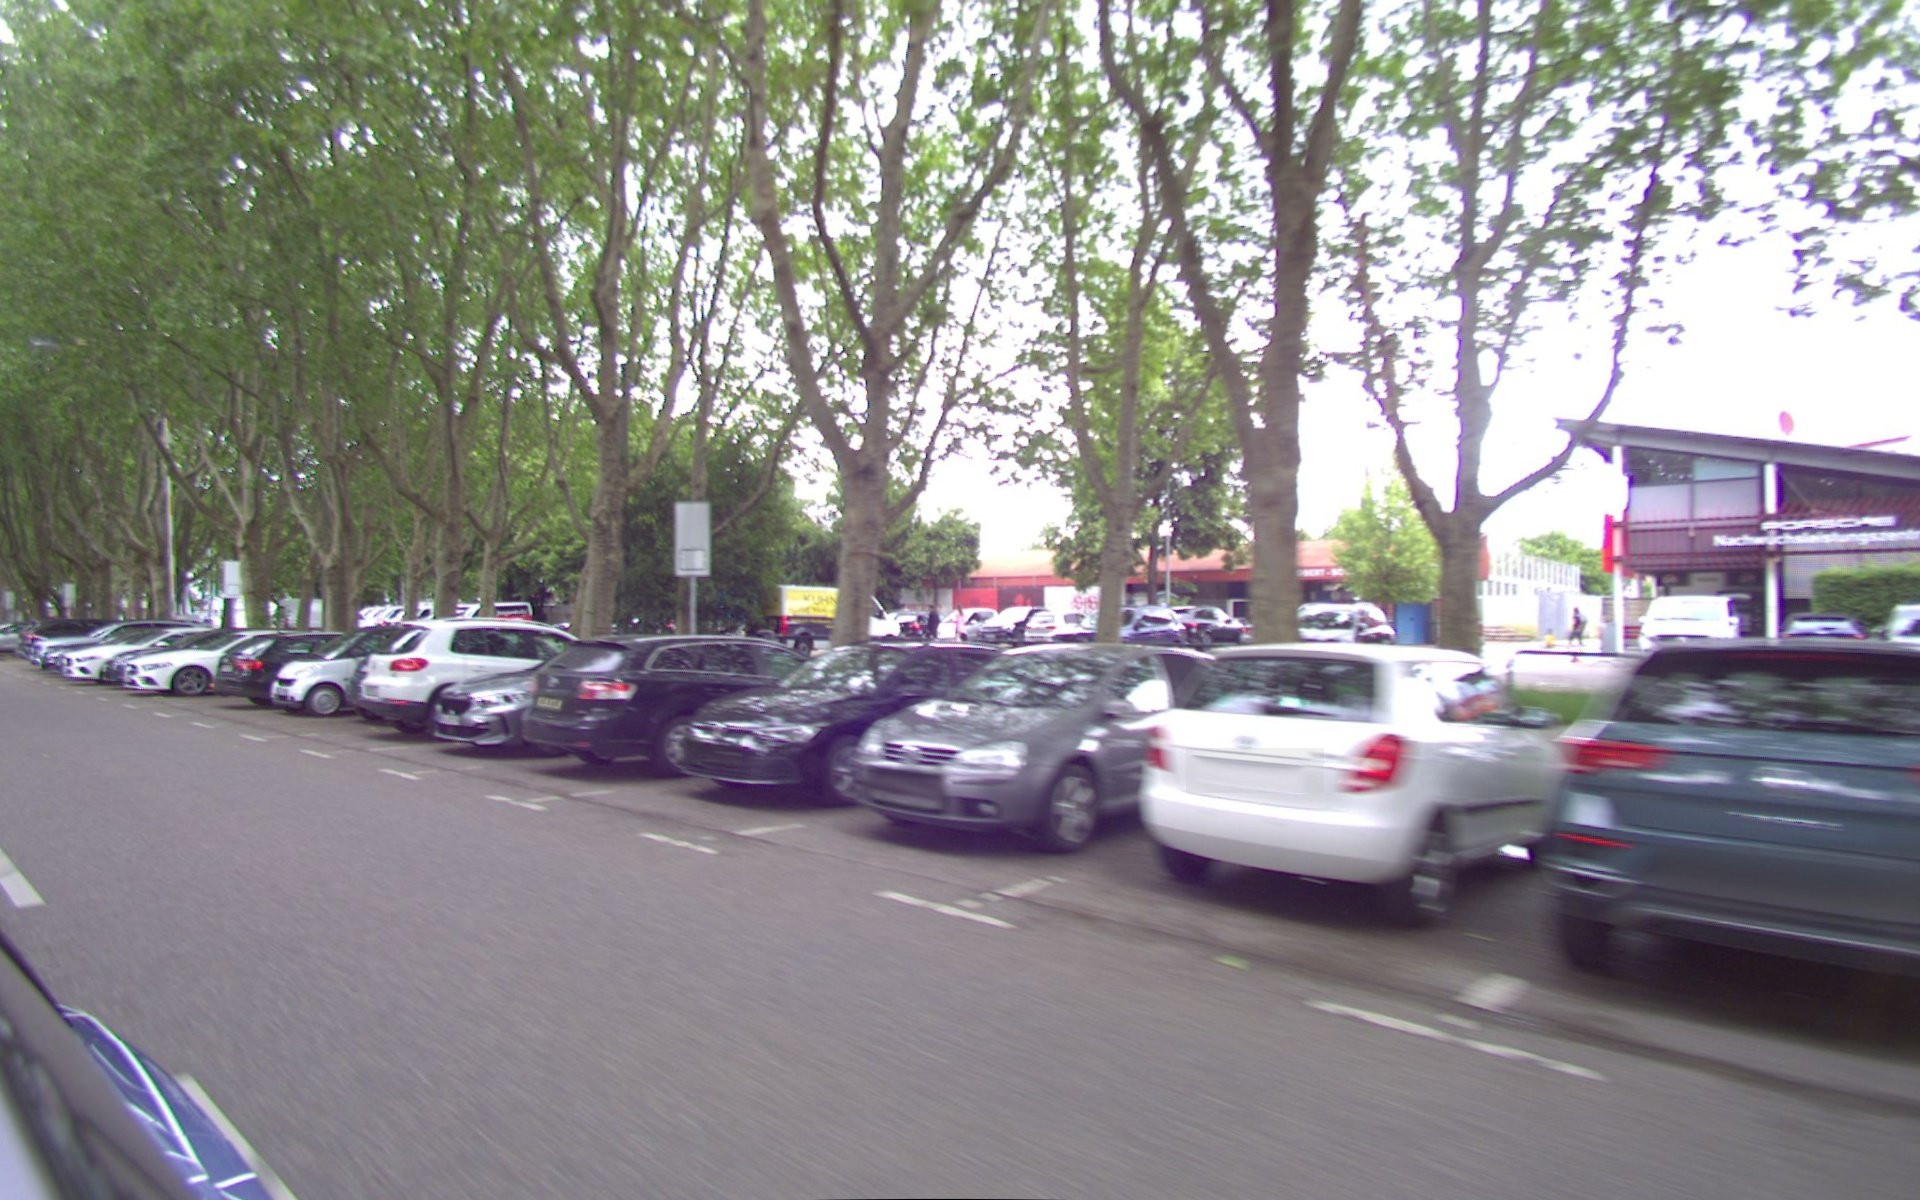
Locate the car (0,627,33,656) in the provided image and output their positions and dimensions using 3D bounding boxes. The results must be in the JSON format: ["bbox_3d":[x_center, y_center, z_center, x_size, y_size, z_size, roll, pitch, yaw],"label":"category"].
[{"bbox_3d":[-50.375,2.109,52.035,1.847,1.486,3.796,-1,-4,43],"label":"car"}]

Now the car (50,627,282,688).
[{"bbox_3d":[-20.226,1.447,25.944,1.774,1.435,4.363,-1,-3,39],"label":"car"}]

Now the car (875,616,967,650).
[{"bbox_3d":[-1.695,1.442,45.087,1.900,1.407,3.945,-2,-1,41],"label":"car"}]

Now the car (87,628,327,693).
[{"bbox_3d":[-18.084,1.440,24.469,1.783,1.428,4.360,-2,-3,42],"label":"car"}]

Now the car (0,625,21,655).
[{"bbox_3d":[-52.378,2.101,53.540,1.847,1.581,3.796,-2,-4,43],"label":"car"}]

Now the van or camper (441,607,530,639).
[{"bbox_3d":[-35.398,1.701,75.609,2.328,2.272,5.646,-1,0,41],"label":"van or camper"}]

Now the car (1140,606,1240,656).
[{"bbox_3d":[8.079,1.029,35.378,1.996,1.638,3.951,-1,0,37],"label":"car"}]

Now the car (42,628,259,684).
[{"bbox_3d":[-22.076,1.526,27.758,1.722,1.406,4.365,-1,-3,38],"label":"car"}]

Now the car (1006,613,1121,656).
[{"bbox_3d":[4.176,1.311,40.142,2.181,1.532,4.892,-1,0,40],"label":"car"}]

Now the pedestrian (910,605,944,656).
[{"bbox_3d":[-1.184,1.107,36.665,0.917,1.814,0.808,-1,-1,41],"label":"pedestrian"}]

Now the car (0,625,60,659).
[{"bbox_3d":[-44.641,1.938,47.202,1.676,1.550,3.796,-2,-4,43],"label":"car"}]

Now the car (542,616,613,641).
[{"bbox_3d":[-24.837,1.817,65.806,1.797,1.498,3.950,-1,0,37],"label":"car"}]

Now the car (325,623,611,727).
[{"bbox_3d":[-8.184,1.159,17.077,1.855,1.464,3.944,-1,0,42],"label":"car"}]

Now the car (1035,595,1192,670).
[{"bbox_3d":[4.007,0.857,25.808,1.998,1.734,4.508,-1,-3,39],"label":"car"}]

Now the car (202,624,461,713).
[{"bbox_3d":[-12.106,1.233,19.675,1.855,1.464,3.944,-1,0,42],"label":"car"}]

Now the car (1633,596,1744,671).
[{"bbox_3d":[19.457,0.816,26.922,2.180,1.810,4.893,-1,0,38],"label":"car"}]

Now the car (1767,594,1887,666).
[{"bbox_3d":[21.482,0.693,25.217,1.997,1.637,3.950,-1,0,37],"label":"car"}]

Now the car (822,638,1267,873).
[{"bbox_3d":[0.912,1.054,8.297,1.701,1.431,3.953,-2,-3,39],"label":"car"}]

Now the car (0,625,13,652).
[{"bbox_3d":[-59.645,2.309,60.686,2.000,1.641,3.975,-3,-4,43],"label":"car"}]

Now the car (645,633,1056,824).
[{"bbox_3d":[-0.903,1.082,10.112,1.842,1.379,3.947,-1,0,39],"label":"car"}]

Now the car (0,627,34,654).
[{"bbox_3d":[-53.919,2.214,55.849,1.874,1.525,3.943,-1,-4,43],"label":"car"}]

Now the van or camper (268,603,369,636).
[{"bbox_3d":[-42.616,1.275,67.353,2.242,2.115,5.233,-1,0,38],"label":"van or camper"}]

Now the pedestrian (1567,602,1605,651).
[{"bbox_3d":[21.859,0.914,35.339,0.987,1.670,0.830,-1,-1,41],"label":"pedestrian"}]

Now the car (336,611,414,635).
[{"bbox_3d":[-50.880,1.977,88.153,2.391,2.036,5.399,-1,0,39],"label":"car"}]

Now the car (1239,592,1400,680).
[{"bbox_3d":[8.000,0.818,22.253,1.998,1.734,4.508,-1,-3,39],"label":"car"}]

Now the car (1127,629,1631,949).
[{"bbox_3d":[2.981,0.979,6.755,3.947,1.497,1.704,3,-4,-44],"label":"car"}]

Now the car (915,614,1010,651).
[{"bbox_3d":[0.155,1.362,43.507,1.990,1.460,3.945,-2,-1,41],"label":"car"}]

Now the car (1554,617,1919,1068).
[{"bbox_3d":[4.332,0.904,5.090,1.727,1.528,3.891,-2,-3,39],"label":"car"}]

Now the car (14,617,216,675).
[{"bbox_3d":[-25.756,1.399,30.997,2.043,1.639,4.367,-1,-3,36],"label":"car"}]

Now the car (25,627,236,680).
[{"bbox_3d":[-23.925,1.543,29.331,2.044,1.406,4.366,-1,-3,37],"label":"car"}]

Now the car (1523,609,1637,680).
[{"bbox_3d":[17.695,1.178,28.766,2.180,1.810,4.893,-1,0,38],"label":"car"}]

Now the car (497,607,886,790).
[{"bbox_3d":[-2.906,0.936,11.570,1.855,1.695,3.944,-1,0,42],"label":"car"}]

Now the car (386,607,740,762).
[{"bbox_3d":[-5.080,0.954,13.312,1.855,1.695,3.944,-1,0,42],"label":"car"}]

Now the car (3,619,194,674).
[{"bbox_3d":[-27.885,1.511,32.880,2.044,1.639,4.366,-1,-3,37],"label":"car"}]

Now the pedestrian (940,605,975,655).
[{"bbox_3d":[-0.075,1.104,37.690,0.917,1.814,0.932,-1,-1,41],"label":"pedestrian"}]

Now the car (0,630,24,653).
[{"bbox_3d":[-55.698,2.342,57.163,2.000,1.320,3.943,-3,-4,43],"label":"car"}]

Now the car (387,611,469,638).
[{"bbox_3d":[-42.988,1.926,81.852,2.391,2.036,5.399,-1,0,39],"label":"car"}]

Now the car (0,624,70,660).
[{"bbox_3d":[-42.683,1.895,45.705,1.847,1.590,3.518,-2,-4,43],"label":"car"}]

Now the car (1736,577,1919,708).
[{"bbox_3d":[14.128,0.636,16.550,2.180,1.810,4.893,-1,-2,38],"label":"car"}]

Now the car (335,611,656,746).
[{"bbox_3d":[-6.776,1.028,15.054,1.855,1.695,3.944,-1,0,42],"label":"car"}]

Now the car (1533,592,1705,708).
[{"bbox_3d":[12.133,0.788,18.471,2.180,1.810,4.893,-1,0,38],"label":"car"}]

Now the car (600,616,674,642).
[{"bbox_3d":[-19.512,1.735,61.227,1.797,1.498,3.950,-1,0,37],"label":"car"}]

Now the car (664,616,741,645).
[{"bbox_3d":[-14.318,1.678,56.399,1.732,1.519,3.947,-1,0,39],"label":"car"}]

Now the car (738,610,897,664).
[{"bbox_3d":[-4.677,1.170,34.028,2.093,1.608,5.295,-1,0,40],"label":"car"}]

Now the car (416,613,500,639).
[{"bbox_3d":[-37.942,1.949,76.647,1.998,1.864,5.399,-1,0,38],"label":"car"}]

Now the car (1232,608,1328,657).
[{"bbox_3d":[11.082,1.068,34.907,1.996,1.562,3.982,-1,0,37],"label":"car"}]

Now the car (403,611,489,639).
[{"bbox_3d":[-39.750,1.891,78.399,2.473,2.013,5.399,-1,0,39],"label":"car"}]

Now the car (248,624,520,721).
[{"bbox_3d":[-10.376,1.219,18.434,1.855,1.464,3.944,-1,0,42],"label":"car"}]

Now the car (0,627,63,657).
[{"bbox_3d":[-48.336,2.110,50.981,2.090,1.445,4.514,-1,-4,43],"label":"car"}]

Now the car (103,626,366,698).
[{"bbox_3d":[-16.218,1.358,22.847,2.042,1.455,4.370,-1,-3,35],"label":"car"}]

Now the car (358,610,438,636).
[{"bbox_3d":[-47.454,1.939,85.531,2.391,2.036,5.398,-1,-3,39],"label":"car"}]

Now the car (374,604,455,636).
[{"bbox_3d":[-45.038,1.589,83.603,2.391,2.536,5.399,-1,0,39],"label":"car"}]

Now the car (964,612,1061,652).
[{"bbox_3d":[2.193,1.276,41.570,1.937,1.521,3.945,-1,-1,41],"label":"car"}]
